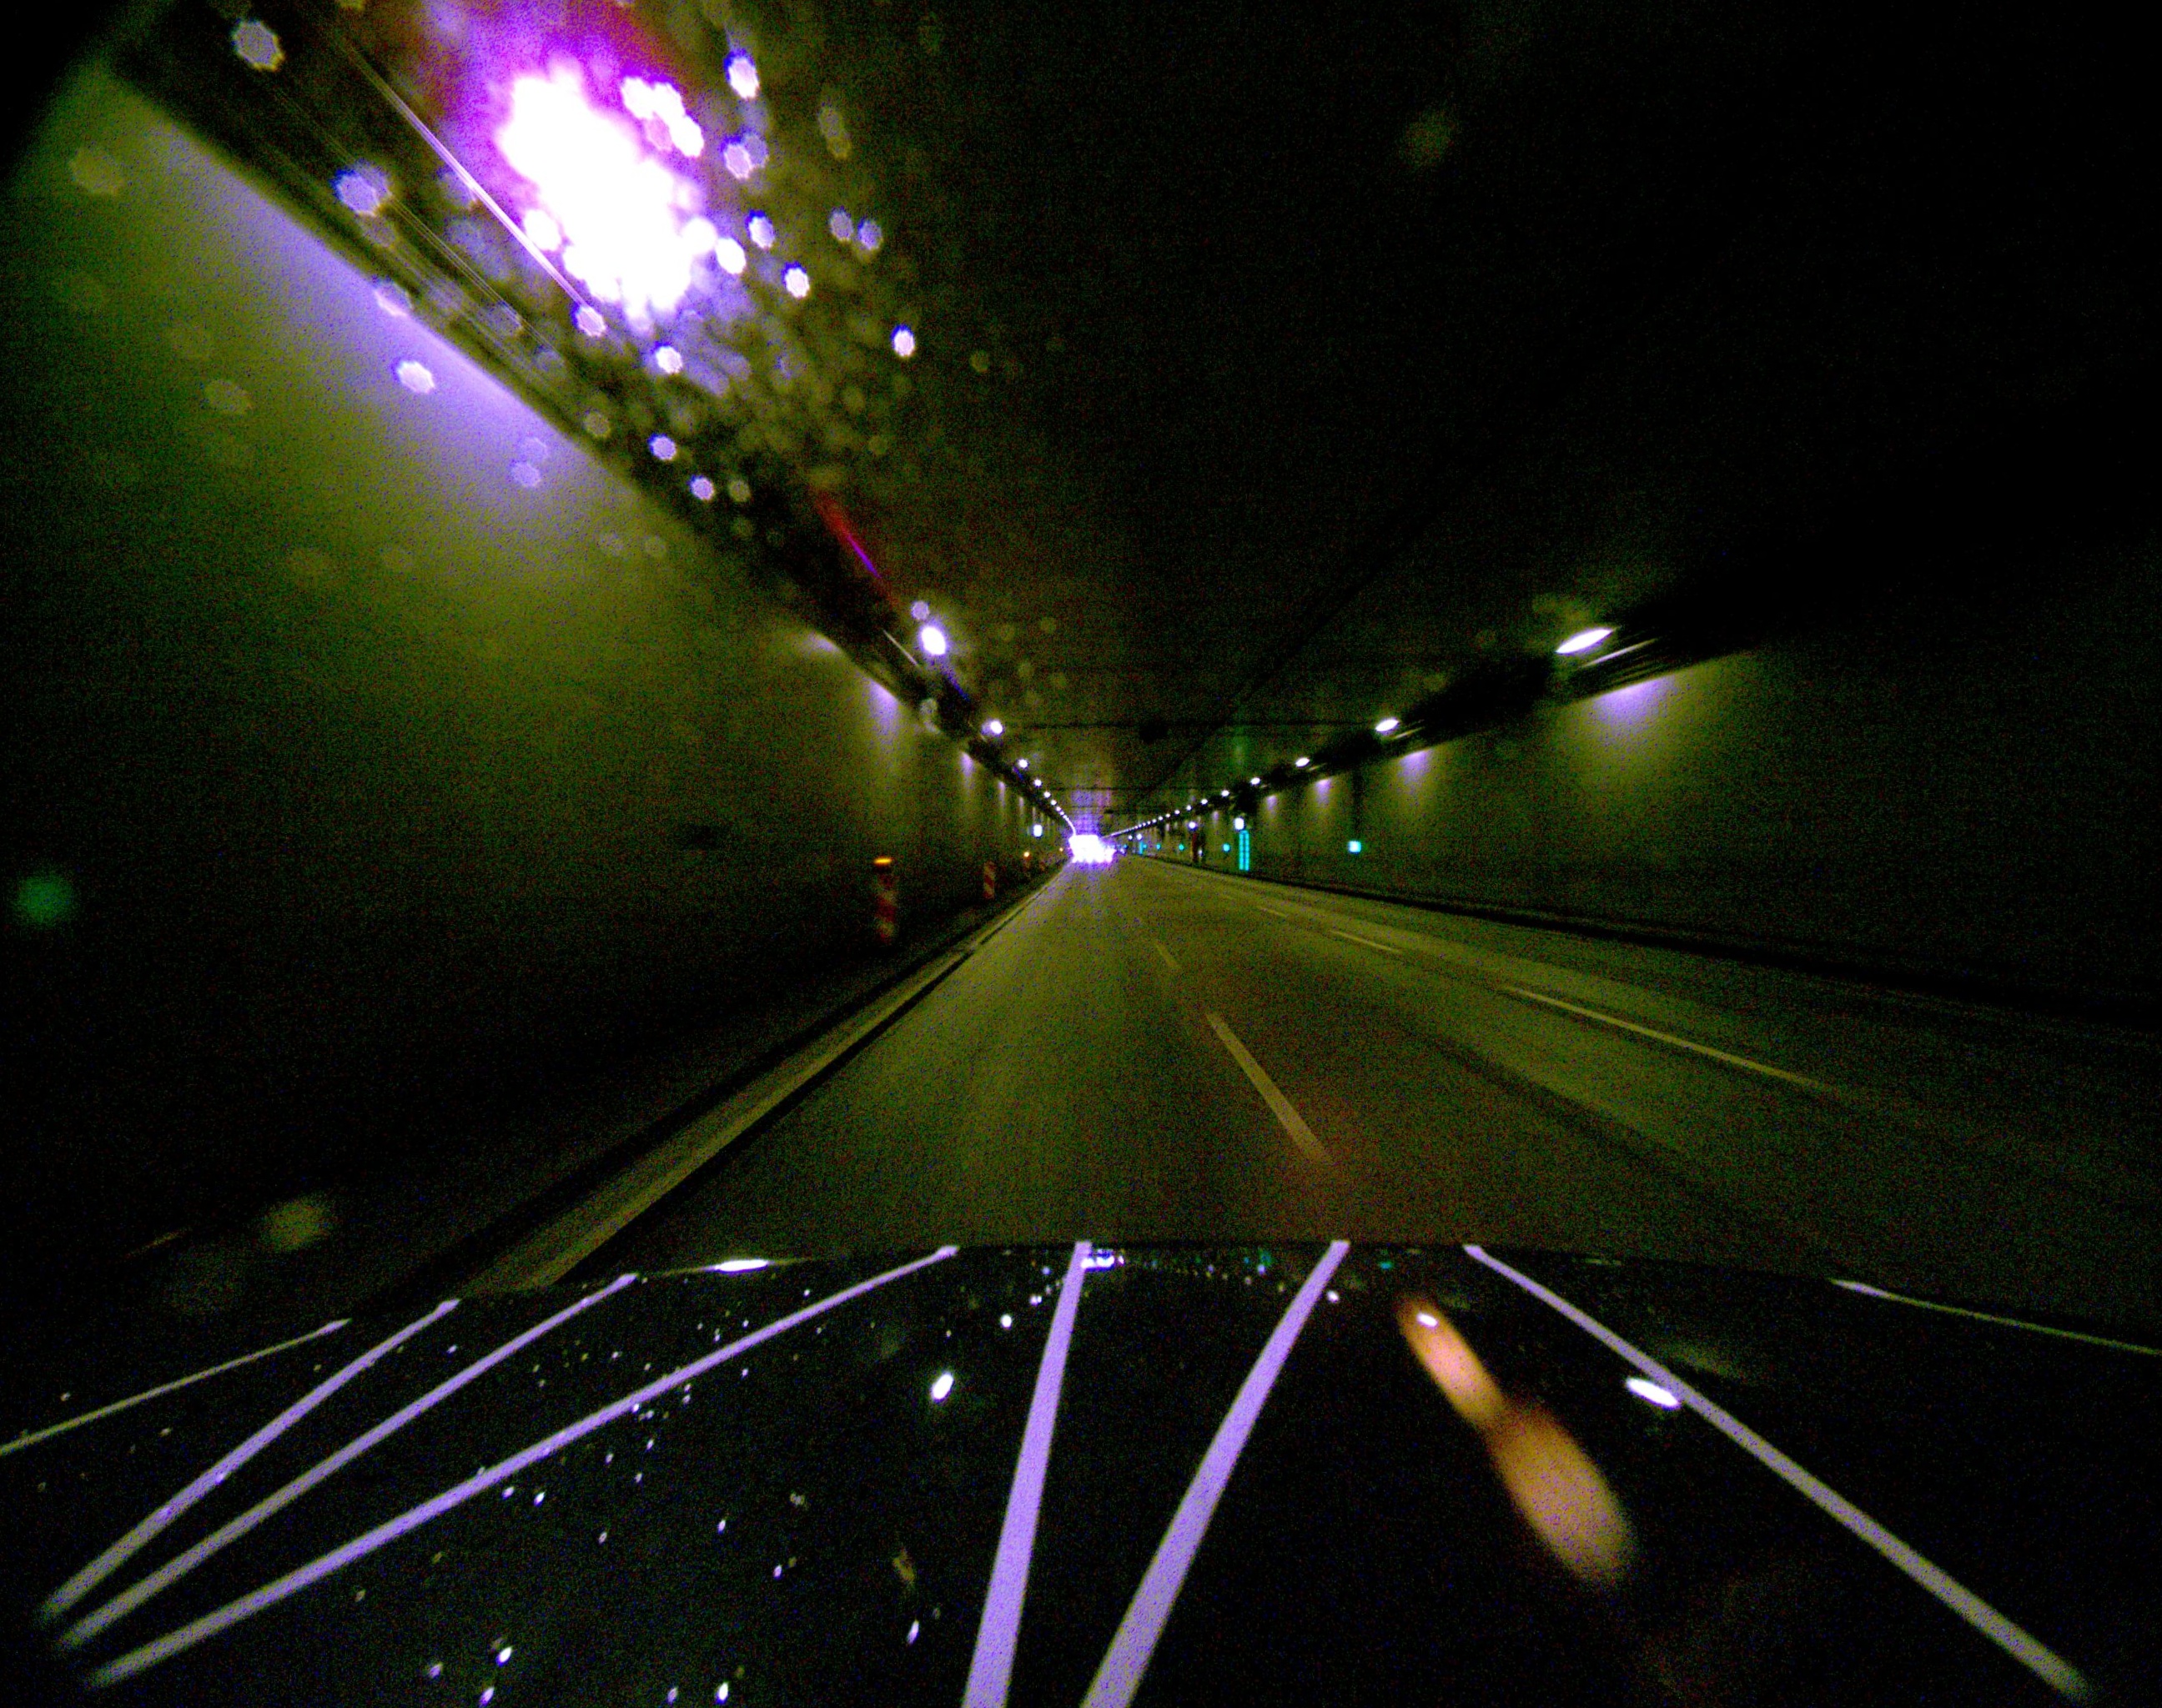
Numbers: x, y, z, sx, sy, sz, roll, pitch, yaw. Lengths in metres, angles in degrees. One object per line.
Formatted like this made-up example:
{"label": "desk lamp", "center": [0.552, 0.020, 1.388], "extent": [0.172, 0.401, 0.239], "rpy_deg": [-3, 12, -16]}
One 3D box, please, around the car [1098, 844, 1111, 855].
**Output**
{"label": "car", "center": [3.745, -0.747, 121.847], "extent": [1.999, 1.686, 3.999], "rpy_deg": [-2, 0, 0]}

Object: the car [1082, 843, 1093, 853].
{"label": "car", "center": [1.196, -1.157, 135.712], "extent": [1.998, 1.686, 3.999], "rpy_deg": [-1, 1, 1]}

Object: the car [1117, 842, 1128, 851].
{"label": "car", "center": [7.841, -1.397, 143.229], "extent": [1.998, 1.685, 4.000], "rpy_deg": [-1, 0, 1]}
